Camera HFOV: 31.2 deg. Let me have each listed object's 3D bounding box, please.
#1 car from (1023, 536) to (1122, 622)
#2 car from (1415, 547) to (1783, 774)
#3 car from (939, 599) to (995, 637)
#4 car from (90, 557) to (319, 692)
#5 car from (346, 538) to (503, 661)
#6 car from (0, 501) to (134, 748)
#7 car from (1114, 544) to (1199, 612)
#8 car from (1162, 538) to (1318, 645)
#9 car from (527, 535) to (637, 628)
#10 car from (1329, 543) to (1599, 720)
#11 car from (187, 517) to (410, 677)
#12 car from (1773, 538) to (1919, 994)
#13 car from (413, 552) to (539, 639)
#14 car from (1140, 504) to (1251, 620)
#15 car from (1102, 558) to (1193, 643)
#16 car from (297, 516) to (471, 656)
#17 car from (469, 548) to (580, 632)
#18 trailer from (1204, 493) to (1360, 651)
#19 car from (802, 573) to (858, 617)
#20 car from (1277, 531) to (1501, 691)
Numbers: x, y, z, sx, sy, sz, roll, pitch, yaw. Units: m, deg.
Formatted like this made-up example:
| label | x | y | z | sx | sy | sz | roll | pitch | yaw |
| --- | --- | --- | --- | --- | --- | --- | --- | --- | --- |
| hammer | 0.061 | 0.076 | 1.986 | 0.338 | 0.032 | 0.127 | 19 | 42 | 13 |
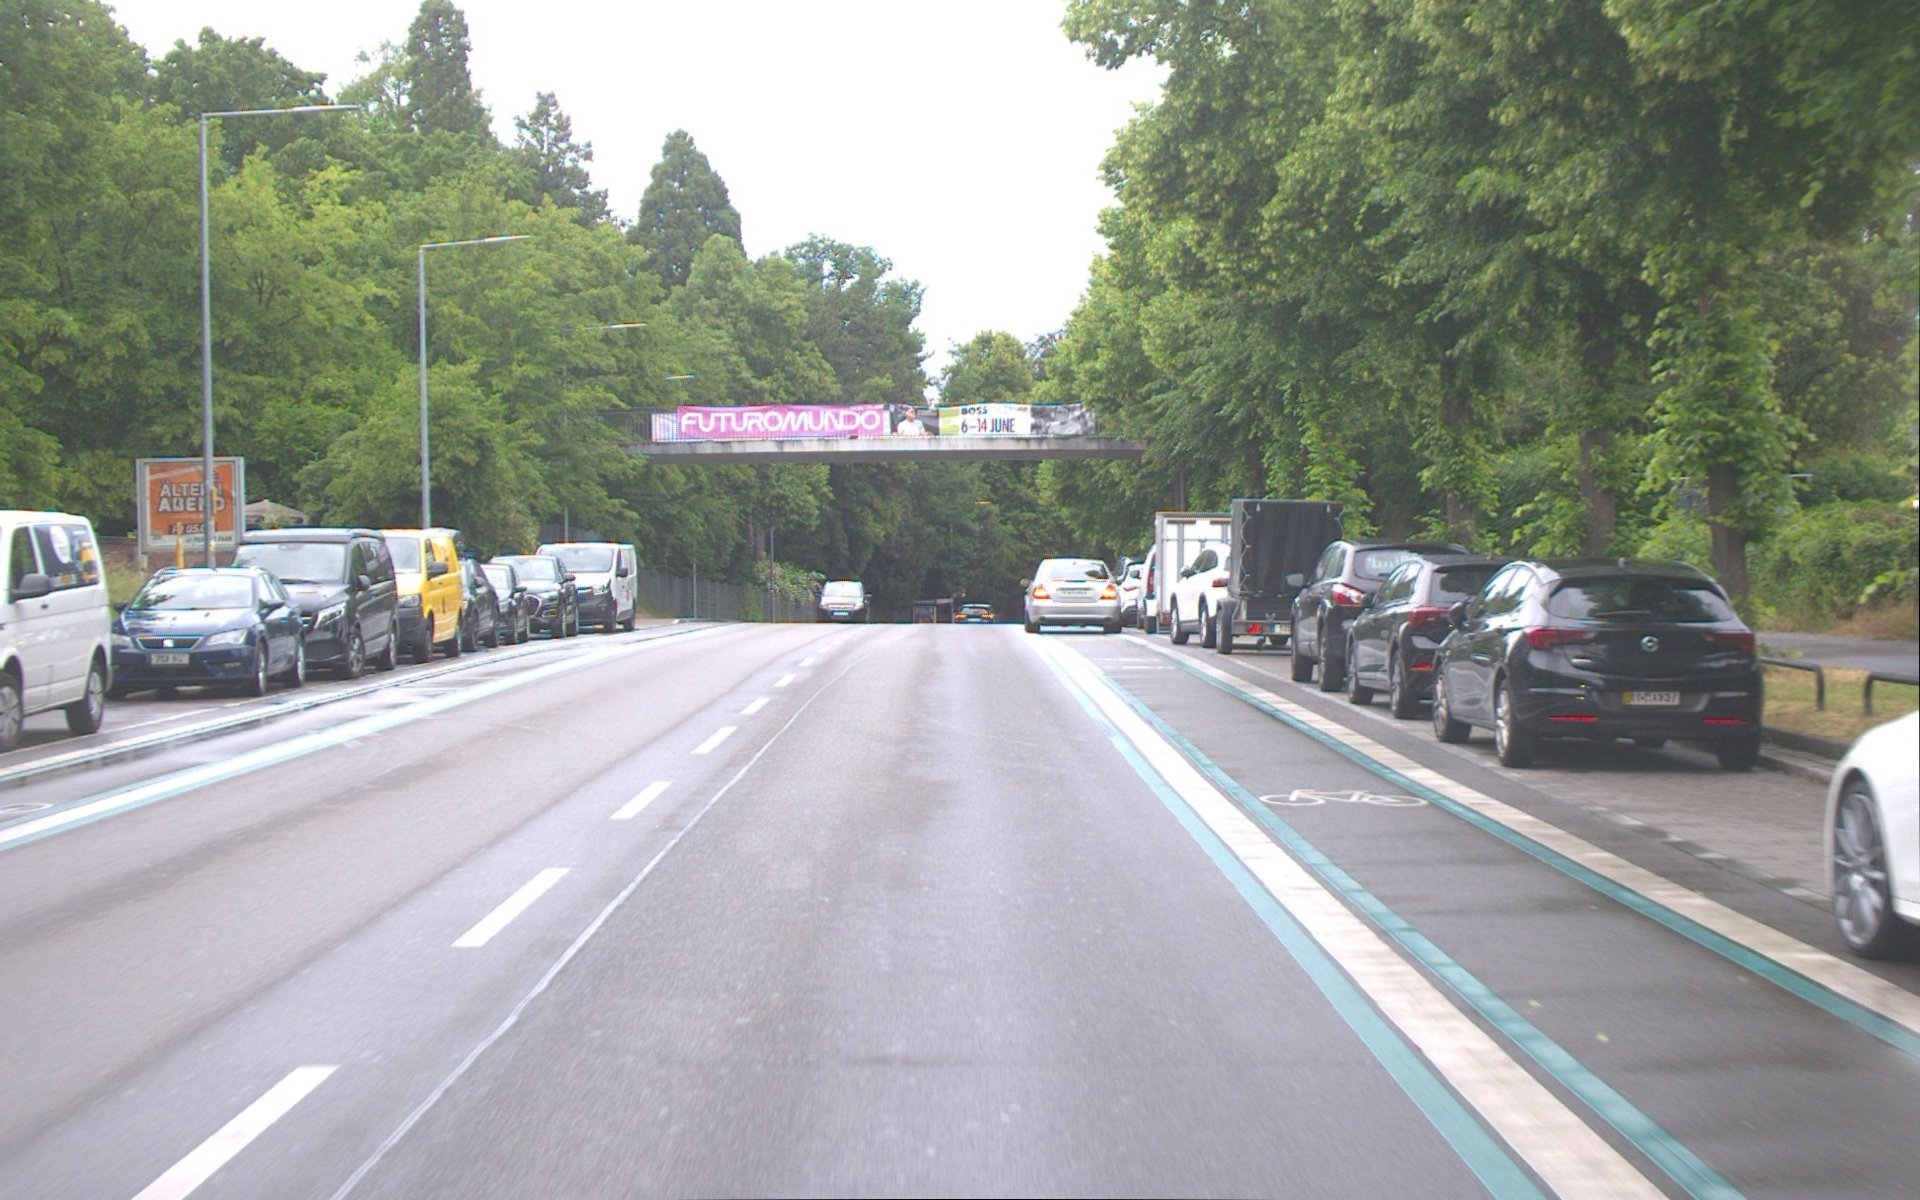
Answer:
| label | x | y | z | sx | sy | sz | roll | pitch | yaw |
| --- | --- | --- | --- | --- | --- | --- | --- | --- | --- |
| car | 2.136 | -0.425 | 66.261 | 1.731 | 1.578 | 4.037 | -1 | 1 | -1 |
| car | 4.540 | 0.374 | 25.035 | 1.731 | 1.458 | 4.278 | 1 | 1 | -2 |
| car | 0.280 | 0.762 | 147.876 | 2.140 | 1.487 | 4.499 | 0 | 1 | -4 |
| car | -8.629 | 0.239 | 39.612 | 1.731 | 1.385 | 4.371 | 0 | 2 | -1 |
| car | -8.743 | -0.050 | 56.416 | 1.990 | 1.886 | 4.055 | 0 | 2 | -1 |
| car | -8.525 | 0.135 | 29.148 | 1.913 | 1.924 | 4.928 | 0 | 2 | -1 |
| car | 4.418 | -0.516 | 77.733 | 1.731 | 1.457 | 4.045 | -1 | 1 | 1 |
| car | 4.298 | -0.159 | 53.274 | 1.731 | 1.578 | 4.155 | -1 | 1 | -5 |
| car | -8.244 | -0.434 | 75.273 | 1.757 | 1.925 | 4.193 | 0 | 2 | 2 |
| car | 4.536 | 0.238 | 31.483 | 1.731 | 1.458 | 4.073 | 1 | 1 | -2 |
| car | -8.589 | -0.100 | 45.071 | 1.990 | 1.939 | 5.142 | 0 | 2 | -1 |
| car | 4.181 | 0.591 | 10.898 | 1.789 | 1.537 | 4.890 | 1 | 1 | -3 |
| car | -8.674 | -0.102 | 61.917 | 1.886 | 1.446 | 3.983 | 0 | 2 | -3 |
| car | 4.481 | -0.738 | 65.773 | 1.889 | 2.120 | 4.045 | -1 | 1 | 1 |
| car | 3.861 | -0.010 | 71.389 | 1.731 | 1.678 | 4.045 | -1 | 1 | 1 |
| car | -8.539 | -0.257 | 51.329 | 1.882 | 1.938 | 4.827 | 0 | 2 | -1 |
| car | -8.565 | -0.220 | 67.835 | 1.870 | 1.536 | 4.055 | 0 | 2 | -3 |
| trailer | 4.563 | -0.420 | 49.154 | 1.884 | 2.158 | 3.808 | -1 | 1 | 0 |
| car | -4.492 | -0.157 | 118.599 | 1.869 | 1.468 | 4.055 | 0 | -1 | -3 |
| car | 4.544 | 0.077 | 36.958 | 1.731 | 1.578 | 4.155 | 1 | 1 | -2 |
